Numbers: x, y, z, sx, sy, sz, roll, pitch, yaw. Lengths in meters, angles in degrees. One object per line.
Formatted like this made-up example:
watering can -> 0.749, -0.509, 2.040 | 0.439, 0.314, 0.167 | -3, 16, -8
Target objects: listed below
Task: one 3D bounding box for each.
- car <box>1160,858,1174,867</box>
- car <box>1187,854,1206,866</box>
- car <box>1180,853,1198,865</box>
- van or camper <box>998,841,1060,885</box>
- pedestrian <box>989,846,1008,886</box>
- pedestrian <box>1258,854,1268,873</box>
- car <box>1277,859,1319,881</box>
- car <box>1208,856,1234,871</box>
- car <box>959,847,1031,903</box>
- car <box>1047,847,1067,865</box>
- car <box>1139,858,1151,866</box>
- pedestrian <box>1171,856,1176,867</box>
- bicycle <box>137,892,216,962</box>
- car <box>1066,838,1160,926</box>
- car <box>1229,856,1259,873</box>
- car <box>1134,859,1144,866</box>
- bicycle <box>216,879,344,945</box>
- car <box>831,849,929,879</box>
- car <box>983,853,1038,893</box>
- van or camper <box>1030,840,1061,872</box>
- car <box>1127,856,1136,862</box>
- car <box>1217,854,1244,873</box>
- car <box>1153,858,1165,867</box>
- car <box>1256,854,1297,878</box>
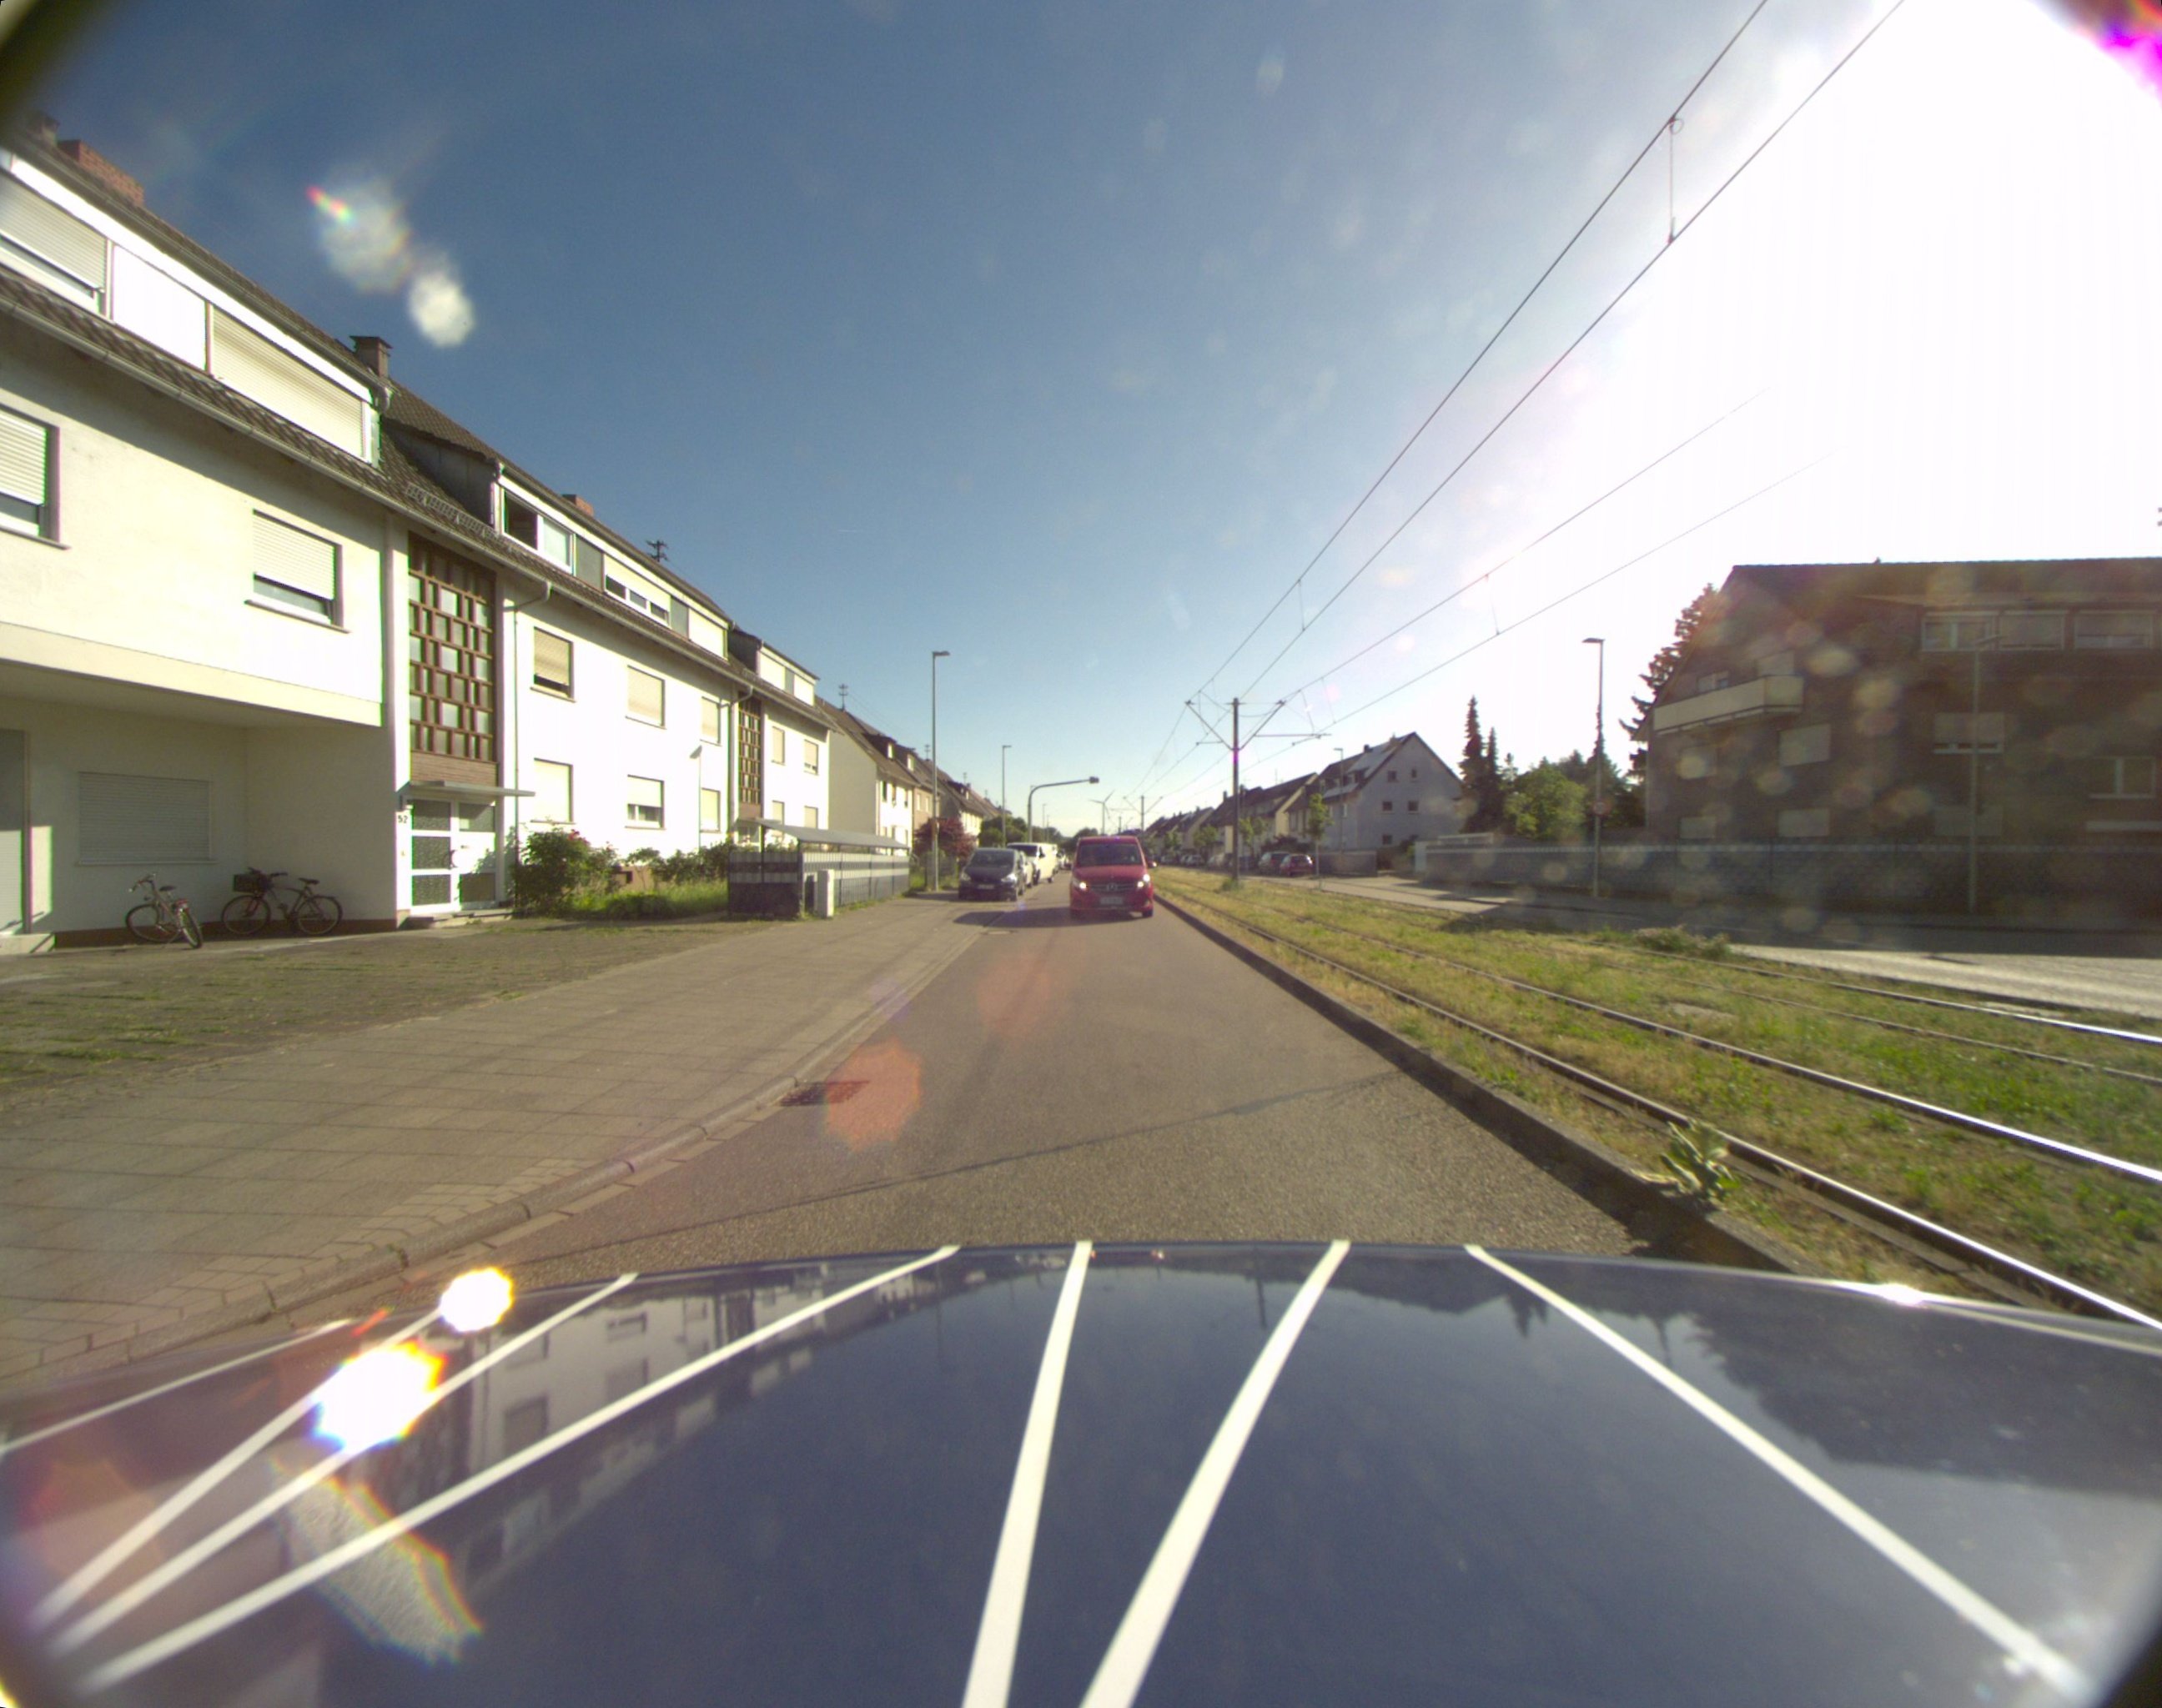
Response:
car -> 14.394, 1.441, 127.210 | 1.662, 1.428, 4.102 | 0, 0, -2
car -> 14.877, 0.782, 98.134 | 1.693, 1.467, 4.442 | -1, 0, -2
car -> 14.823, 0.685, 104.306 | 1.693, 1.464, 4.314 | -1, 0, -2
van or camper -> -2.401, 0.429, 36.741 | 2.032, 1.945, 5.298 | 1, 0, 7
pedestrian -> -3.914, 0.568, 36.120 | 0.700, 1.901, 0.759 | -1, 1, 9
pedestrian -> 16.735, 0.869, 69.928 | 0.697, 1.630, 0.919 | -1, 1, -2
car -> 14.574, 1.068, 51.213 | 1.699, 1.396, 4.079 | 0, 0, 1
car -> 14.885, 0.984, 81.049 | 1.965, 1.531, 4.556 | -1, 0, 0
car -> -2.753, 0.644, 25.340 | 1.795, 1.619, 4.860 | 3, 0, -1
car -> -2.340, 0.200, 73.971 | 1.730, 1.636, 4.318 | 2, 0, 0
car -> 13.627, 1.744, 161.656 | 1.926, 1.551, 4.857 | -1, 0, -2
pedestrian -> 16.378, 1.322, 134.137 | 0.617, 1.804, 0.678 | -1, 1, -9
bicycle -> -12.592, 0.992, 10.570 | 1.539, 0.866, 0.492 | -1, 1, 33
car -> 0.651, 0.609, 19.278 | 1.999, 1.889, 5.389 | -1, 0, -2
car -> 14.921, 0.929, 69.657 | 1.680, 1.482, 4.049 | -2, 0, -2
car -> 13.102, 1.959, 172.204 | 1.658, 1.447, 4.400 | -1, 0, -2
bicycle -> -12.635, 0.907, 12.002 | 1.712, 0.996, 0.332 | -1, 1, 3
car -> -10.560, 0.503, 40.154 | 4.724, 1.469, 1.906 | 0, 1, -1
car -> -2.771, 0.710, 30.595 | 1.660, 1.484, 4.160 | 1, 0, 2
van or camper -> -2.632, 0.165, 58.020 | 1.998, 2.257, 6.304 | 2, 0, 1
car -> 12.453, 1.120, 186.781 | 1.705, 1.389, 4.092 | -1, 0, -2
car -> 14.911, 0.898, 75.799 | 1.749, 1.812, 4.841 | -2, 0, 0
car -> 14.375, 1.549, 140.139 | 1.623, 1.503, 4.085 | -1, 0, 0
car -> 14.491, 0.844, 56.561 | 1.824, 1.674, 4.846 | -2, 0, 1
